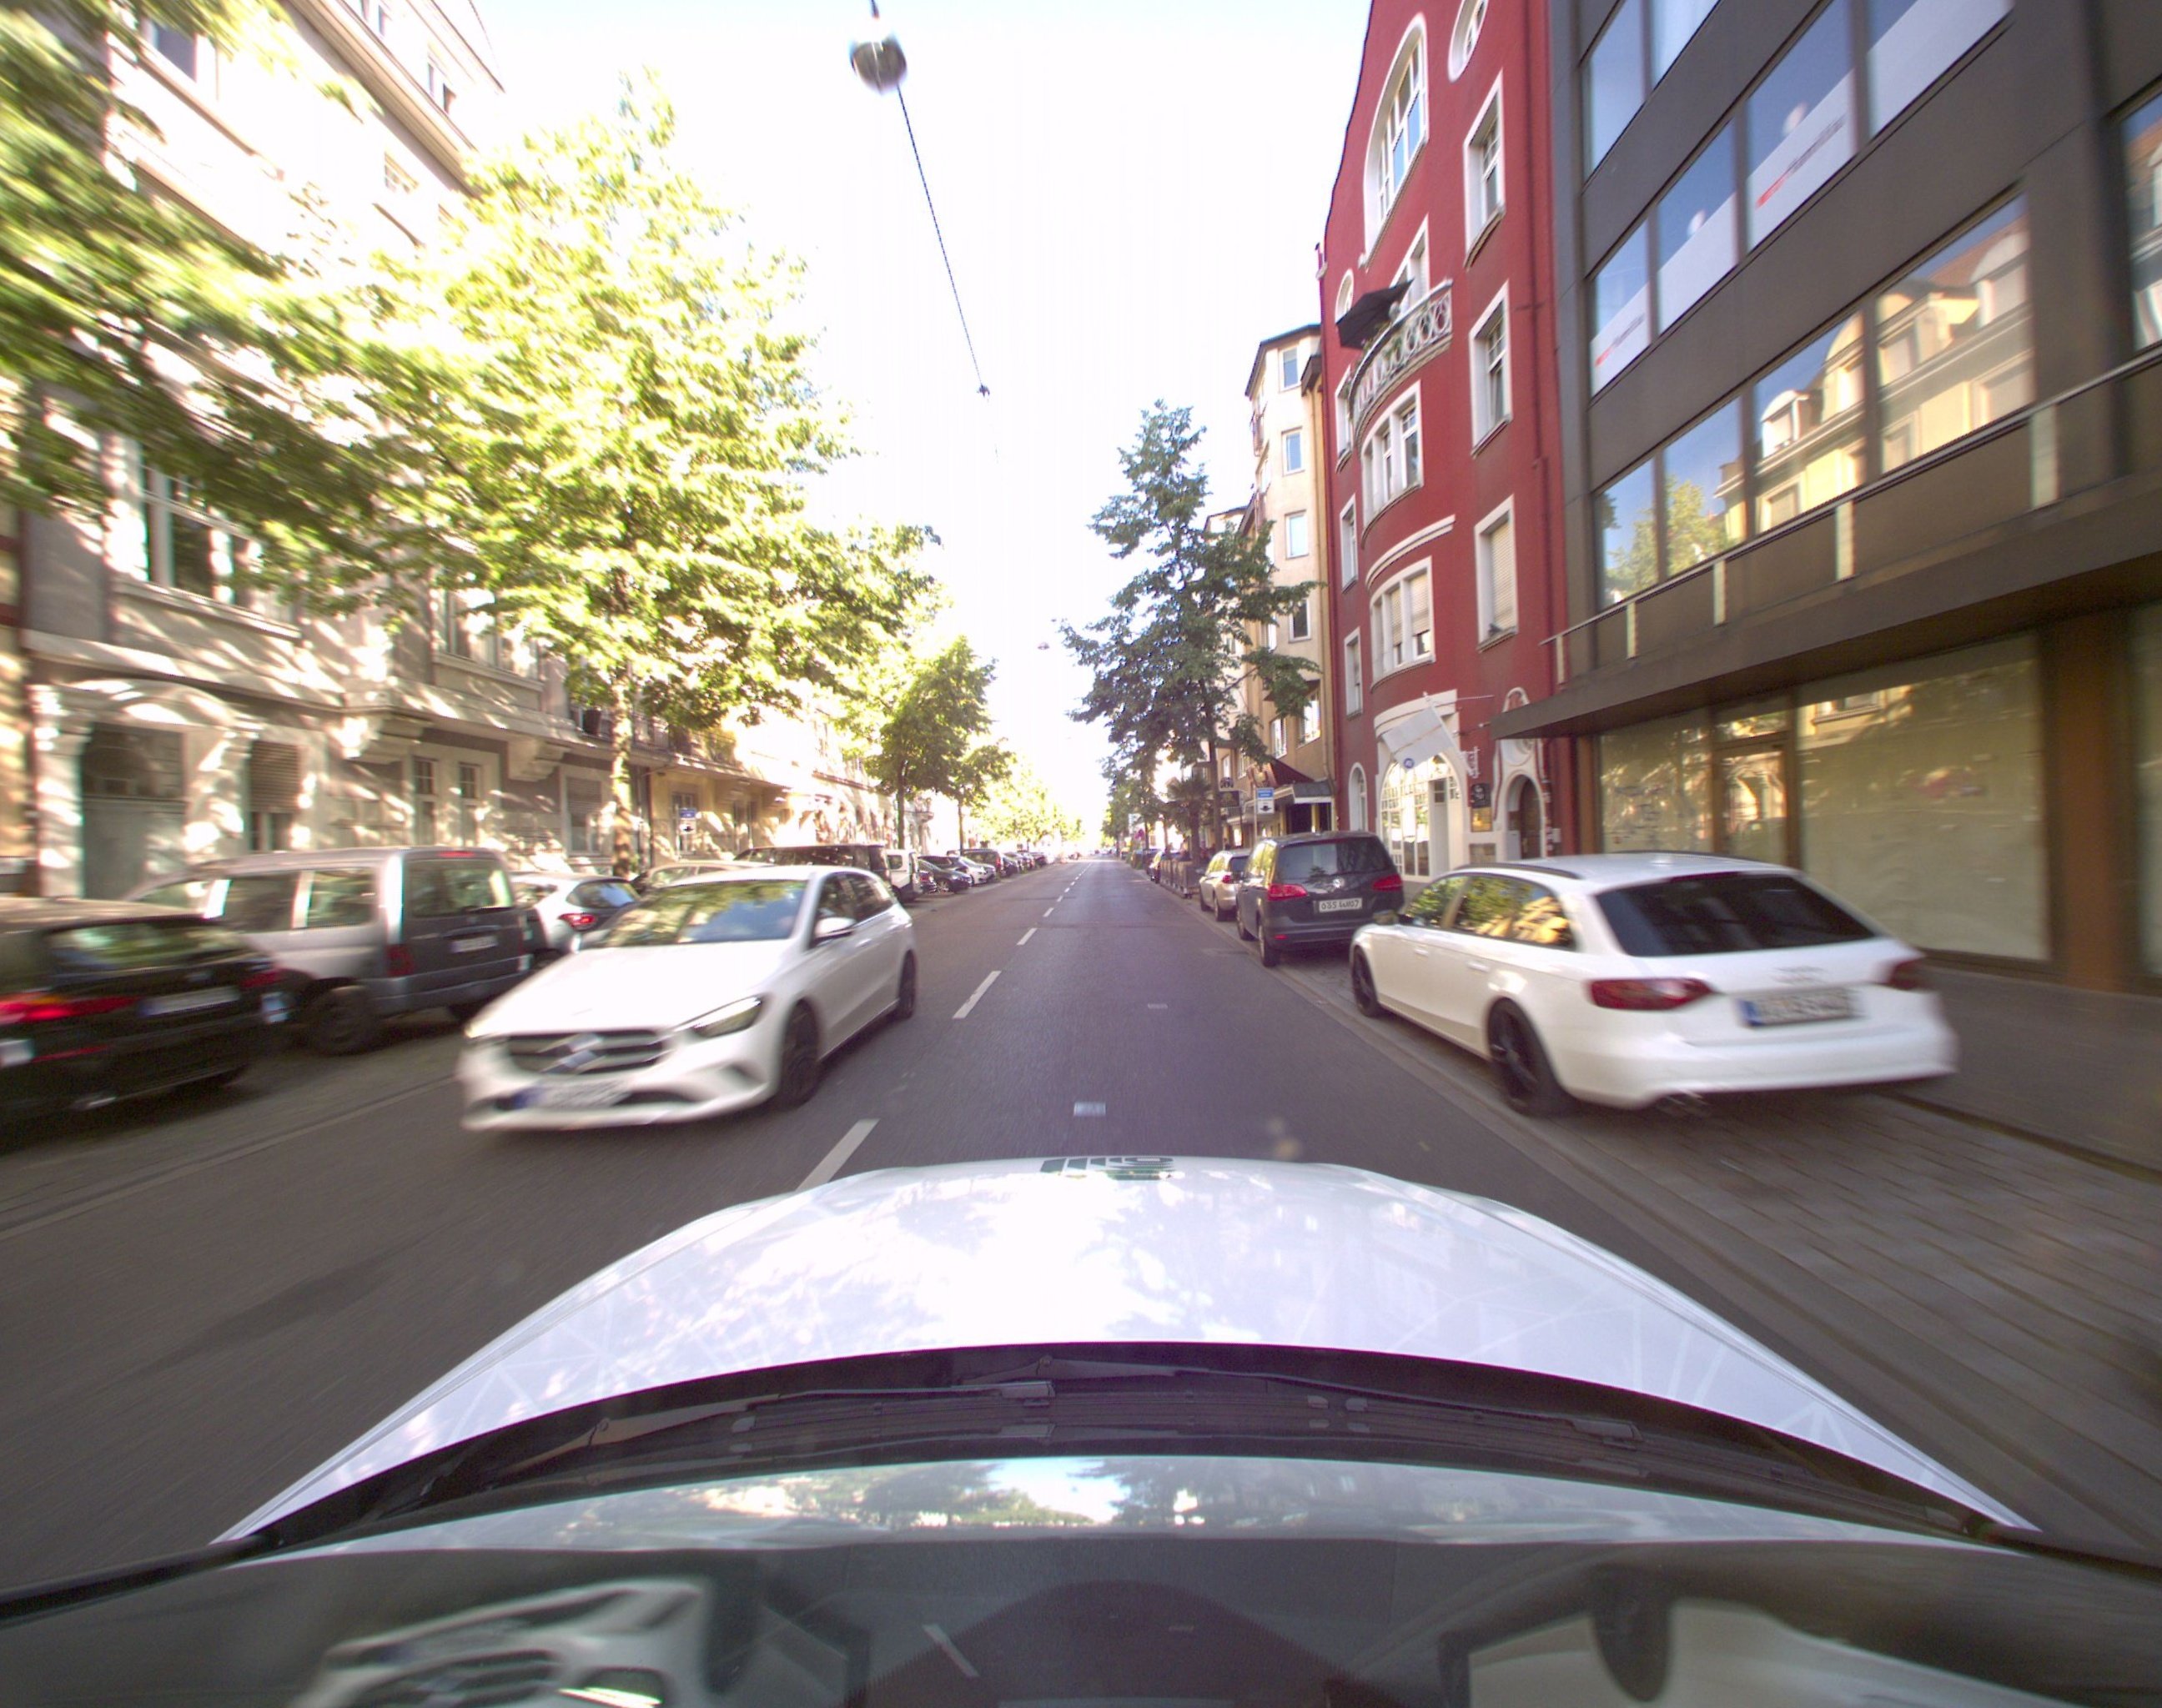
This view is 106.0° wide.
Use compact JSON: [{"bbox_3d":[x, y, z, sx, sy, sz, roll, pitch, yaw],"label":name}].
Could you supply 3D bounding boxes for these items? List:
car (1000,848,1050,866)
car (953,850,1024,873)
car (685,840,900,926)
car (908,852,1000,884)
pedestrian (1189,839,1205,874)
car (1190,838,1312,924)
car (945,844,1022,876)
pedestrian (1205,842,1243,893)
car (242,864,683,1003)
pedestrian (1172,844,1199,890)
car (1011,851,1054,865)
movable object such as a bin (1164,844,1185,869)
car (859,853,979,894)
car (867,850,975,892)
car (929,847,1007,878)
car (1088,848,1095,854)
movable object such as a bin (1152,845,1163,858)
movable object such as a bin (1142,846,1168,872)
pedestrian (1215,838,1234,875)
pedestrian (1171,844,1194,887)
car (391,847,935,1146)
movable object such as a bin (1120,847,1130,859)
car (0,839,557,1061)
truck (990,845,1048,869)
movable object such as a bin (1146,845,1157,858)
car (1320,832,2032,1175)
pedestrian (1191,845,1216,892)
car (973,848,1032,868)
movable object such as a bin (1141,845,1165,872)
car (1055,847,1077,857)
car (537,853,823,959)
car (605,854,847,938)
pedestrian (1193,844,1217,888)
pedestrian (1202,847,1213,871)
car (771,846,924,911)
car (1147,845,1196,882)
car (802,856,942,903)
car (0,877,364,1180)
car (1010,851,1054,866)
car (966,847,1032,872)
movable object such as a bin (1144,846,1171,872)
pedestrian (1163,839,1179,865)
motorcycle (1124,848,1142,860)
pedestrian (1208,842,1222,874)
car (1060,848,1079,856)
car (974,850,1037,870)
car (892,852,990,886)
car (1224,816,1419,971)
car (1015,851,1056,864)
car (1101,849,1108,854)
[{"bbox_3d":[-5.457,0.273,80.214,4.661,1.693,1.809,-1,0,2],"label":"car"},{"bbox_3d":[-6.362,0.515,56.300,4.629,1.459,1.684,-1,0,1],"label":"car"},{"bbox_3d":[-7.033,0.691,20.151,4.553,1.926,1.932,-1,0,3],"label":"car"},{"bbox_3d":[-6.717,0.725,43.376,4.445,1.541,1.919,-1,0,4],"label":"car"},{"bbox_3d":[5.753,0.141,40.335,0.614,1.695,0.762,-2,0,0],"label":"pedestrian"},{"bbox_3d":[3.755,0.523,18.845,1.815,1.596,4.843,-4,0,2],"label":"car"},{"bbox_3d":[-6.276,0.383,52.942,4.661,1.950,1.918,-1,0,2],"label":"car"},{"bbox_3d":[4.421,0.413,25.251,1.051,1.536,0.893,-2,0,5],"label":"pedestrian"},{"bbox_3d":[-7.791,0.960,10.532,4.318,1.544,1.919,-1,0,5],"label":"car"},{"bbox_3d":[3.622,0.448,28.226,0.743,1.536,0.811,-2,0,16],"label":"pedestrian"},{"bbox_3d":[-5.388,0.441,90.744,4.668,1.465,1.807,-1,0,-2],"label":"car"},{"bbox_3d":[5.648,0.158,49.144,1.073,1.431,1.296,-2,0,1],"label":"movable object such as a bin"},{"bbox_3d":[-6.605,0.786,33.588,4.447,1.541,1.918,-1,0,3],"label":"car"},{"bbox_3d":[-7.042,0.714,36.083,4.324,1.709,1.917,-1,0,1],"label":"car"},{"bbox_3d":[-6.887,0.485,49.974,4.448,1.772,1.918,-1,0,2],"label":"car"},{"bbox_3d":[2.738,-0.804,212.780,1.796,1.435,4.409,-4,0,0],"label":"car"},{"bbox_3d":[9.683,-0.337,103.367,1.266,1.530,1.176,-3,0,0],"label":"movable object such as a bin"},{"bbox_3d":[4.364,0.296,47.996,1.394,1.453,1.146,-2,0,1],"label":"movable object such as a bin"},{"bbox_3d":[6.587,0.110,37.419,0.506,1.695,0.623,-2,0,-36],"label":"pedestrian"},{"bbox_3d":[3.661,0.410,29.525,0.648,1.536,0.980,-2,0,0],"label":"pedestrian"},{"bbox_3d":[-2.610,0.747,6.484,1.903,1.544,4.356,-1,0,2],"label":"car"},{"bbox_3d":[5.834,-0.161,107.365,1.135,1.562,1.463,-3,0,10],"label":"movable object such as a bin"},{"bbox_3d":[-7.882,0.831,7.911,4.321,1.824,1.932,-1,0,3],"label":"car"},{"bbox_3d":[-5.684,0.275,74.806,5.067,1.938,2.000,-2,0,0],"label":"truck"},{"bbox_3d":[9.015,-0.370,104.746,1.202,1.627,1.498,-3,0,0],"label":"movable object such as a bin"},{"bbox_3d":[3.354,0.652,6.052,1.815,1.402,4.844,-4,0,2],"label":"car"},{"bbox_3d":[4.071,0.478,27.101,0.690,1.536,0.777,-2,0,2],"label":"pedestrian"},{"bbox_3d":[-6.462,0.318,67.440,4.661,1.572,1.809,-1,0,2],"label":"car"},{"bbox_3d":[4.347,0.254,49.161,1.326,1.542,1.146,-2,0,1],"label":"movable object such as a bin"},{"bbox_3d":[-2.981,-0.404,158.470,3.967,1.694,2.004,-2,0,6],"label":"car"},{"bbox_3d":[-7.312,0.906,15.198,4.326,1.733,1.916,-1,0,-1],"label":"car"},{"bbox_3d":[-7.514,0.863,17.577,4.326,1.595,1.916,-1,0,-1],"label":"car"},{"bbox_3d":[4.507,0.433,29.484,0.706,1.536,0.773,-2,0,16],"label":"pedestrian"},{"bbox_3d":[6.255,0.265,40.210,0.441,1.163,0.501,-2,0,2],"label":"pedestrian"},{"bbox_3d":[-7.160,0.712,25.393,4.338,1.834,1.911,-1,0,-9],"label":"car"},{"bbox_3d":[4.176,0.392,38.271,1.815,1.472,4.913,-4,0,2],"label":"car"},{"bbox_3d":[-7.172,0.860,28.246,4.326,1.439,1.916,-1,0,-1],"label":"car"},{"bbox_3d":[-7.693,1.007,5.193,4.330,1.544,1.962,-1,0,-4],"label":"car"},{"bbox_3d":[-5.239,0.465,88.028,4.668,1.465,1.807,-1,0,-2],"label":"car"},{"bbox_3d":[-6.191,0.410,61.679,4.661,1.712,1.809,-1,0,2],"label":"car"},{"bbox_3d":[4.400,0.290,46.826,1.394,1.453,1.146,-2,0,1],"label":"movable object such as a bin"},{"bbox_3d":[6.903,-0.168,62.371,0.916,1.935,0.765,-2,0,26],"label":"pedestrian"},{"bbox_3d":[6.167,-0.027,97.020,1.978,1.330,0.908,-2,0,-11],"label":"motorcycle"},{"bbox_3d":[7.051,0.197,42.821,0.614,1.642,0.763,-2,0,4],"label":"pedestrian"},{"bbox_3d":[-2.581,-0.454,181.242,3.974,1.499,2.000,-2,1,0],"label":"car"},{"bbox_3d":[-5.960,0.465,64.439,4.661,1.519,1.809,-1,0,2],"label":"car"},{"bbox_3d":[-6.917,0.737,40.589,4.451,1.541,1.917,-1,0,0],"label":"car"},{"bbox_3d":[3.383,0.467,12.484,1.813,1.777,4.938,-4,0,5],"label":"car"},{"bbox_3d":[-5.321,0.424,95.761,4.668,1.412,1.807,-1,0,-2],"label":"car"},{"bbox_3d":[6.352,-0.718,220.883,1.786,1.411,4.001,-2,1,1],"label":"car"}]
